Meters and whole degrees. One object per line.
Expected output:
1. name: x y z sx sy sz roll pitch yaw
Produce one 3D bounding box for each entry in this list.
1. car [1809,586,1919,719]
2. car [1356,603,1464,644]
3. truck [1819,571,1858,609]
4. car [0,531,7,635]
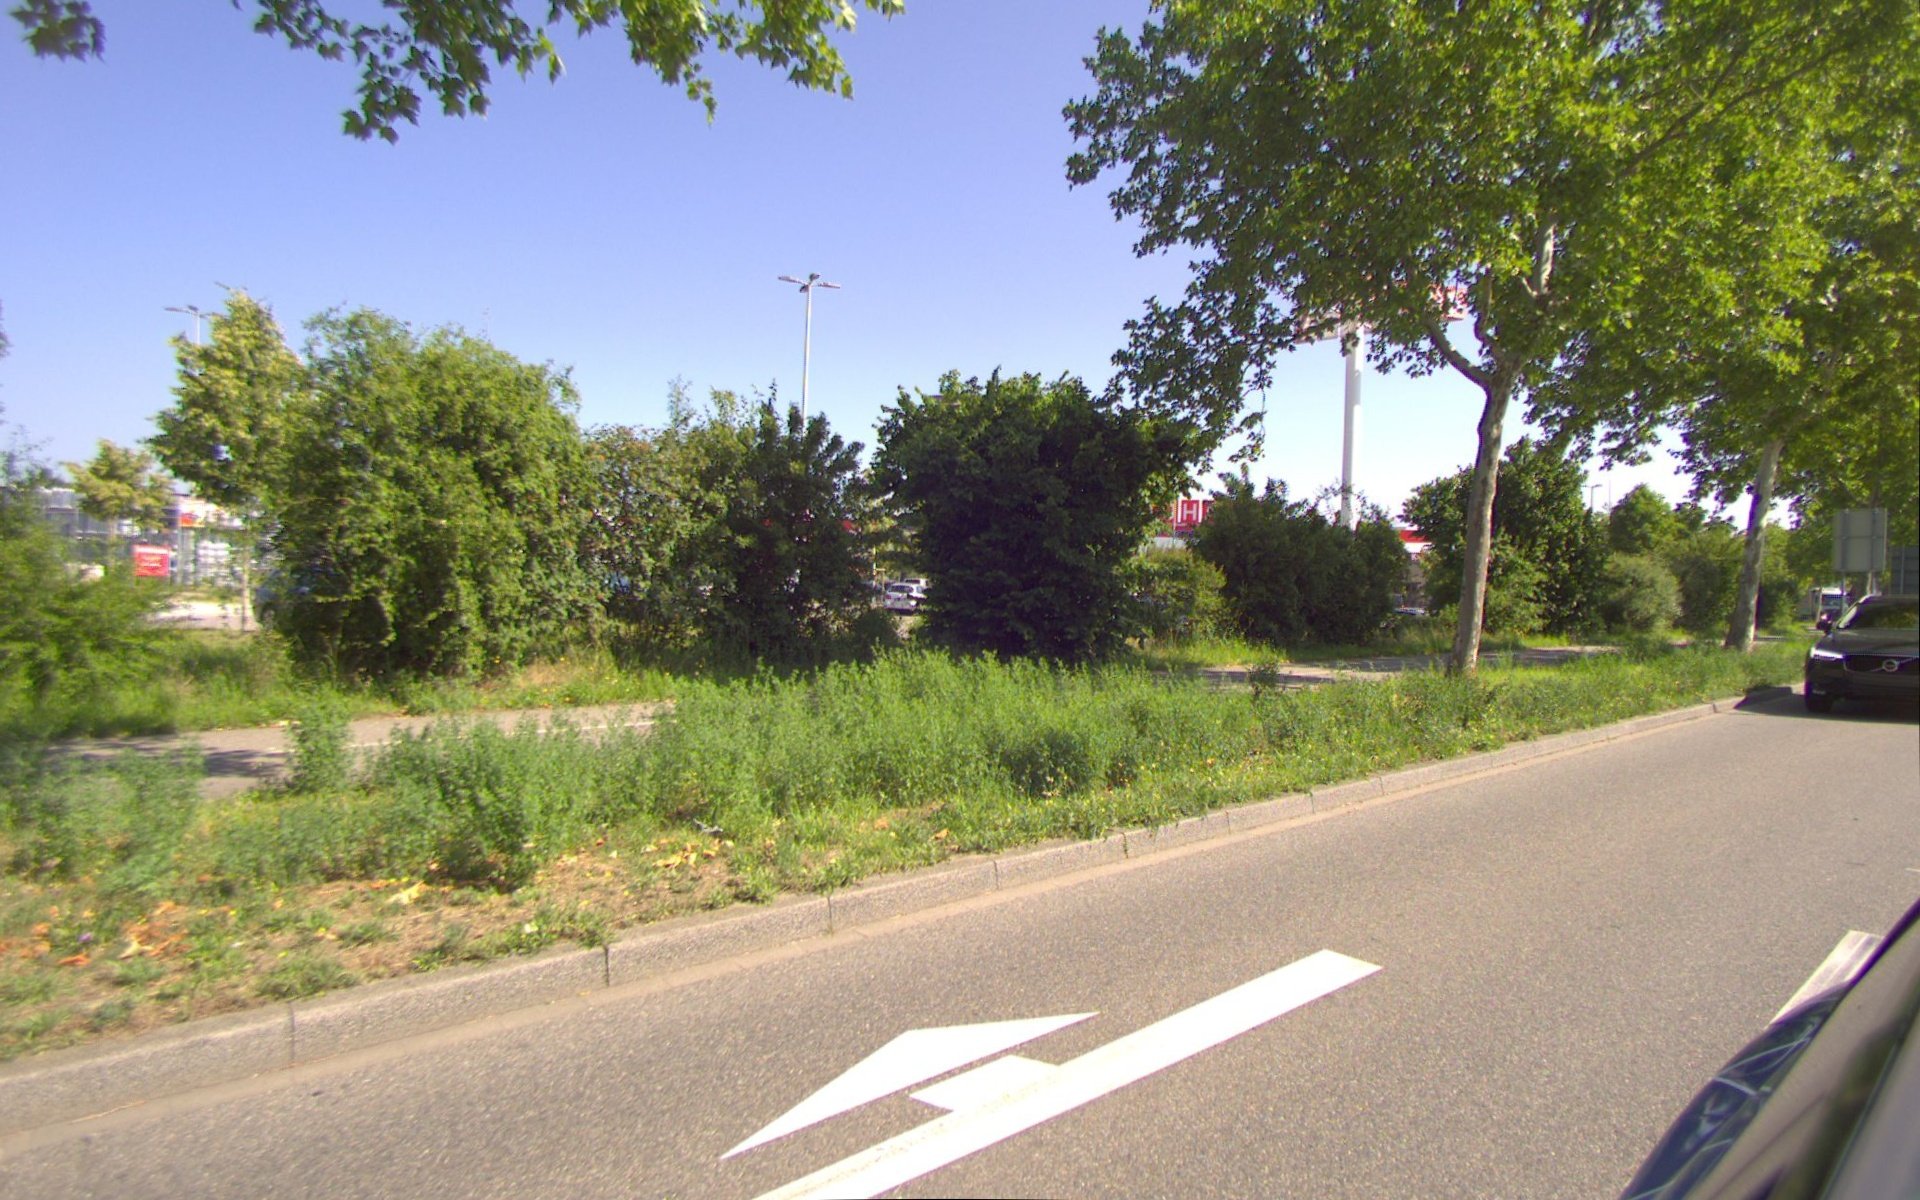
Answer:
1. car: 13.527 0.641 14.128 4.485 1.643 1.922 0 0 -41
2. car: 19.578 0.983 44.086 1.670 1.693 3.989 0 0 -44
3. truck: 93.004 -1.063 107.158 2.728 3.944 5.772 0 0 37
4. car: -16.040 -0.272 15.689 1.658 1.692 3.827 0 0 -41
